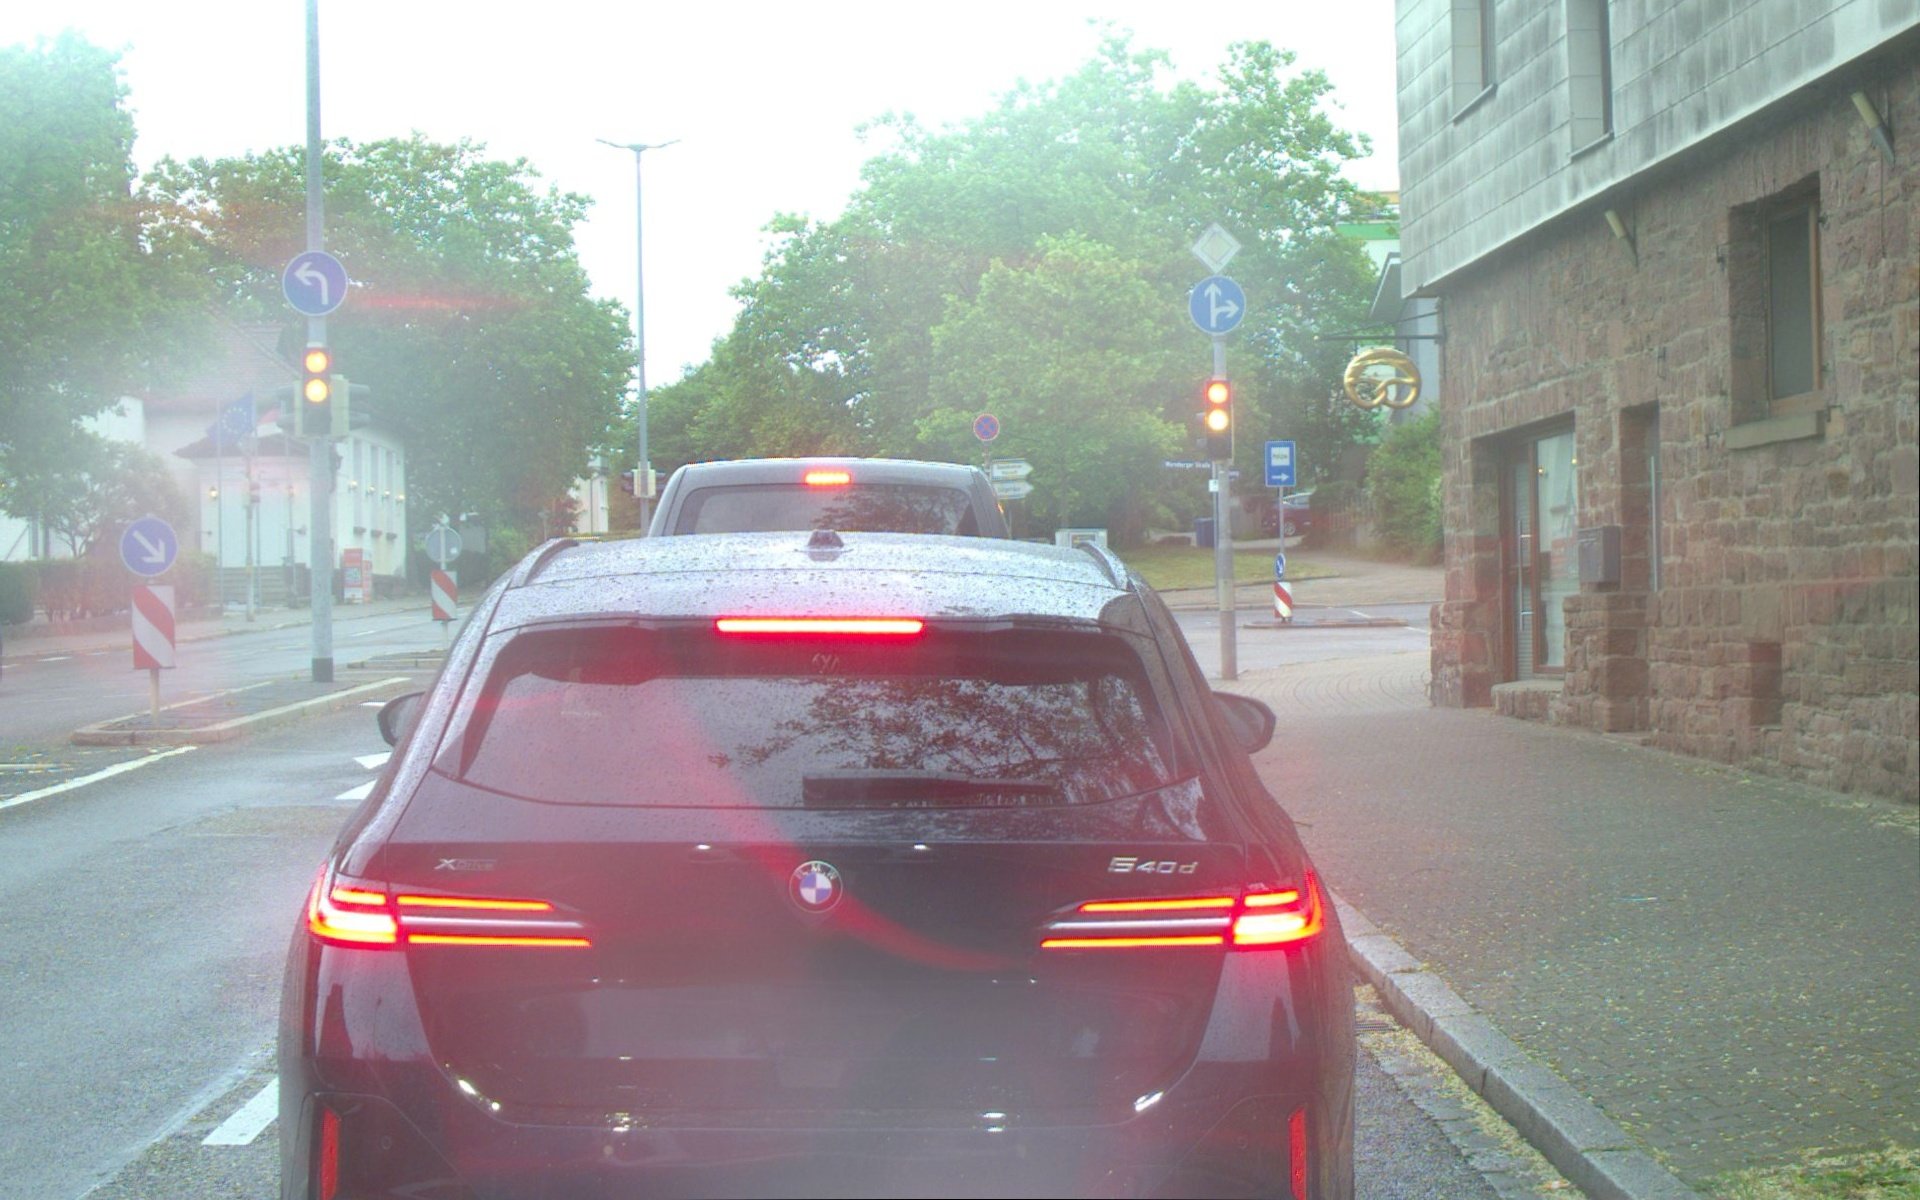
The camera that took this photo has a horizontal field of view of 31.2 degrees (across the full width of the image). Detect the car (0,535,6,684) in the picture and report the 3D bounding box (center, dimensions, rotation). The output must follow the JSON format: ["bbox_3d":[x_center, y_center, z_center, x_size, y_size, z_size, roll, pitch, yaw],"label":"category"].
[{"bbox_3d":[-11.124,0.166,34.832,1.908,1.585,4.318,-2,1,-4],"label":"car"}]

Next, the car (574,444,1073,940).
[{"bbox_3d":[-0.616,0.323,14.529,1.812,1.802,3.757,1,0,-4],"label":"car"}]

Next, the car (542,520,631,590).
[{"bbox_3d":[-8.965,-1.106,82.788,1.898,1.572,4.503,-1,2,-4],"label":"car"}]

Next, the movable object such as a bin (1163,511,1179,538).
[{"bbox_3d":[7.065,-2.543,115.262,0.450,0.902,0.462,1,0,15],"label":"movable object such as a bin"}]

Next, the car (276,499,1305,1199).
[{"bbox_3d":[-0.360,0.608,6.911,1.523,1.529,3.532,1,0,-4],"label":"car"}]
